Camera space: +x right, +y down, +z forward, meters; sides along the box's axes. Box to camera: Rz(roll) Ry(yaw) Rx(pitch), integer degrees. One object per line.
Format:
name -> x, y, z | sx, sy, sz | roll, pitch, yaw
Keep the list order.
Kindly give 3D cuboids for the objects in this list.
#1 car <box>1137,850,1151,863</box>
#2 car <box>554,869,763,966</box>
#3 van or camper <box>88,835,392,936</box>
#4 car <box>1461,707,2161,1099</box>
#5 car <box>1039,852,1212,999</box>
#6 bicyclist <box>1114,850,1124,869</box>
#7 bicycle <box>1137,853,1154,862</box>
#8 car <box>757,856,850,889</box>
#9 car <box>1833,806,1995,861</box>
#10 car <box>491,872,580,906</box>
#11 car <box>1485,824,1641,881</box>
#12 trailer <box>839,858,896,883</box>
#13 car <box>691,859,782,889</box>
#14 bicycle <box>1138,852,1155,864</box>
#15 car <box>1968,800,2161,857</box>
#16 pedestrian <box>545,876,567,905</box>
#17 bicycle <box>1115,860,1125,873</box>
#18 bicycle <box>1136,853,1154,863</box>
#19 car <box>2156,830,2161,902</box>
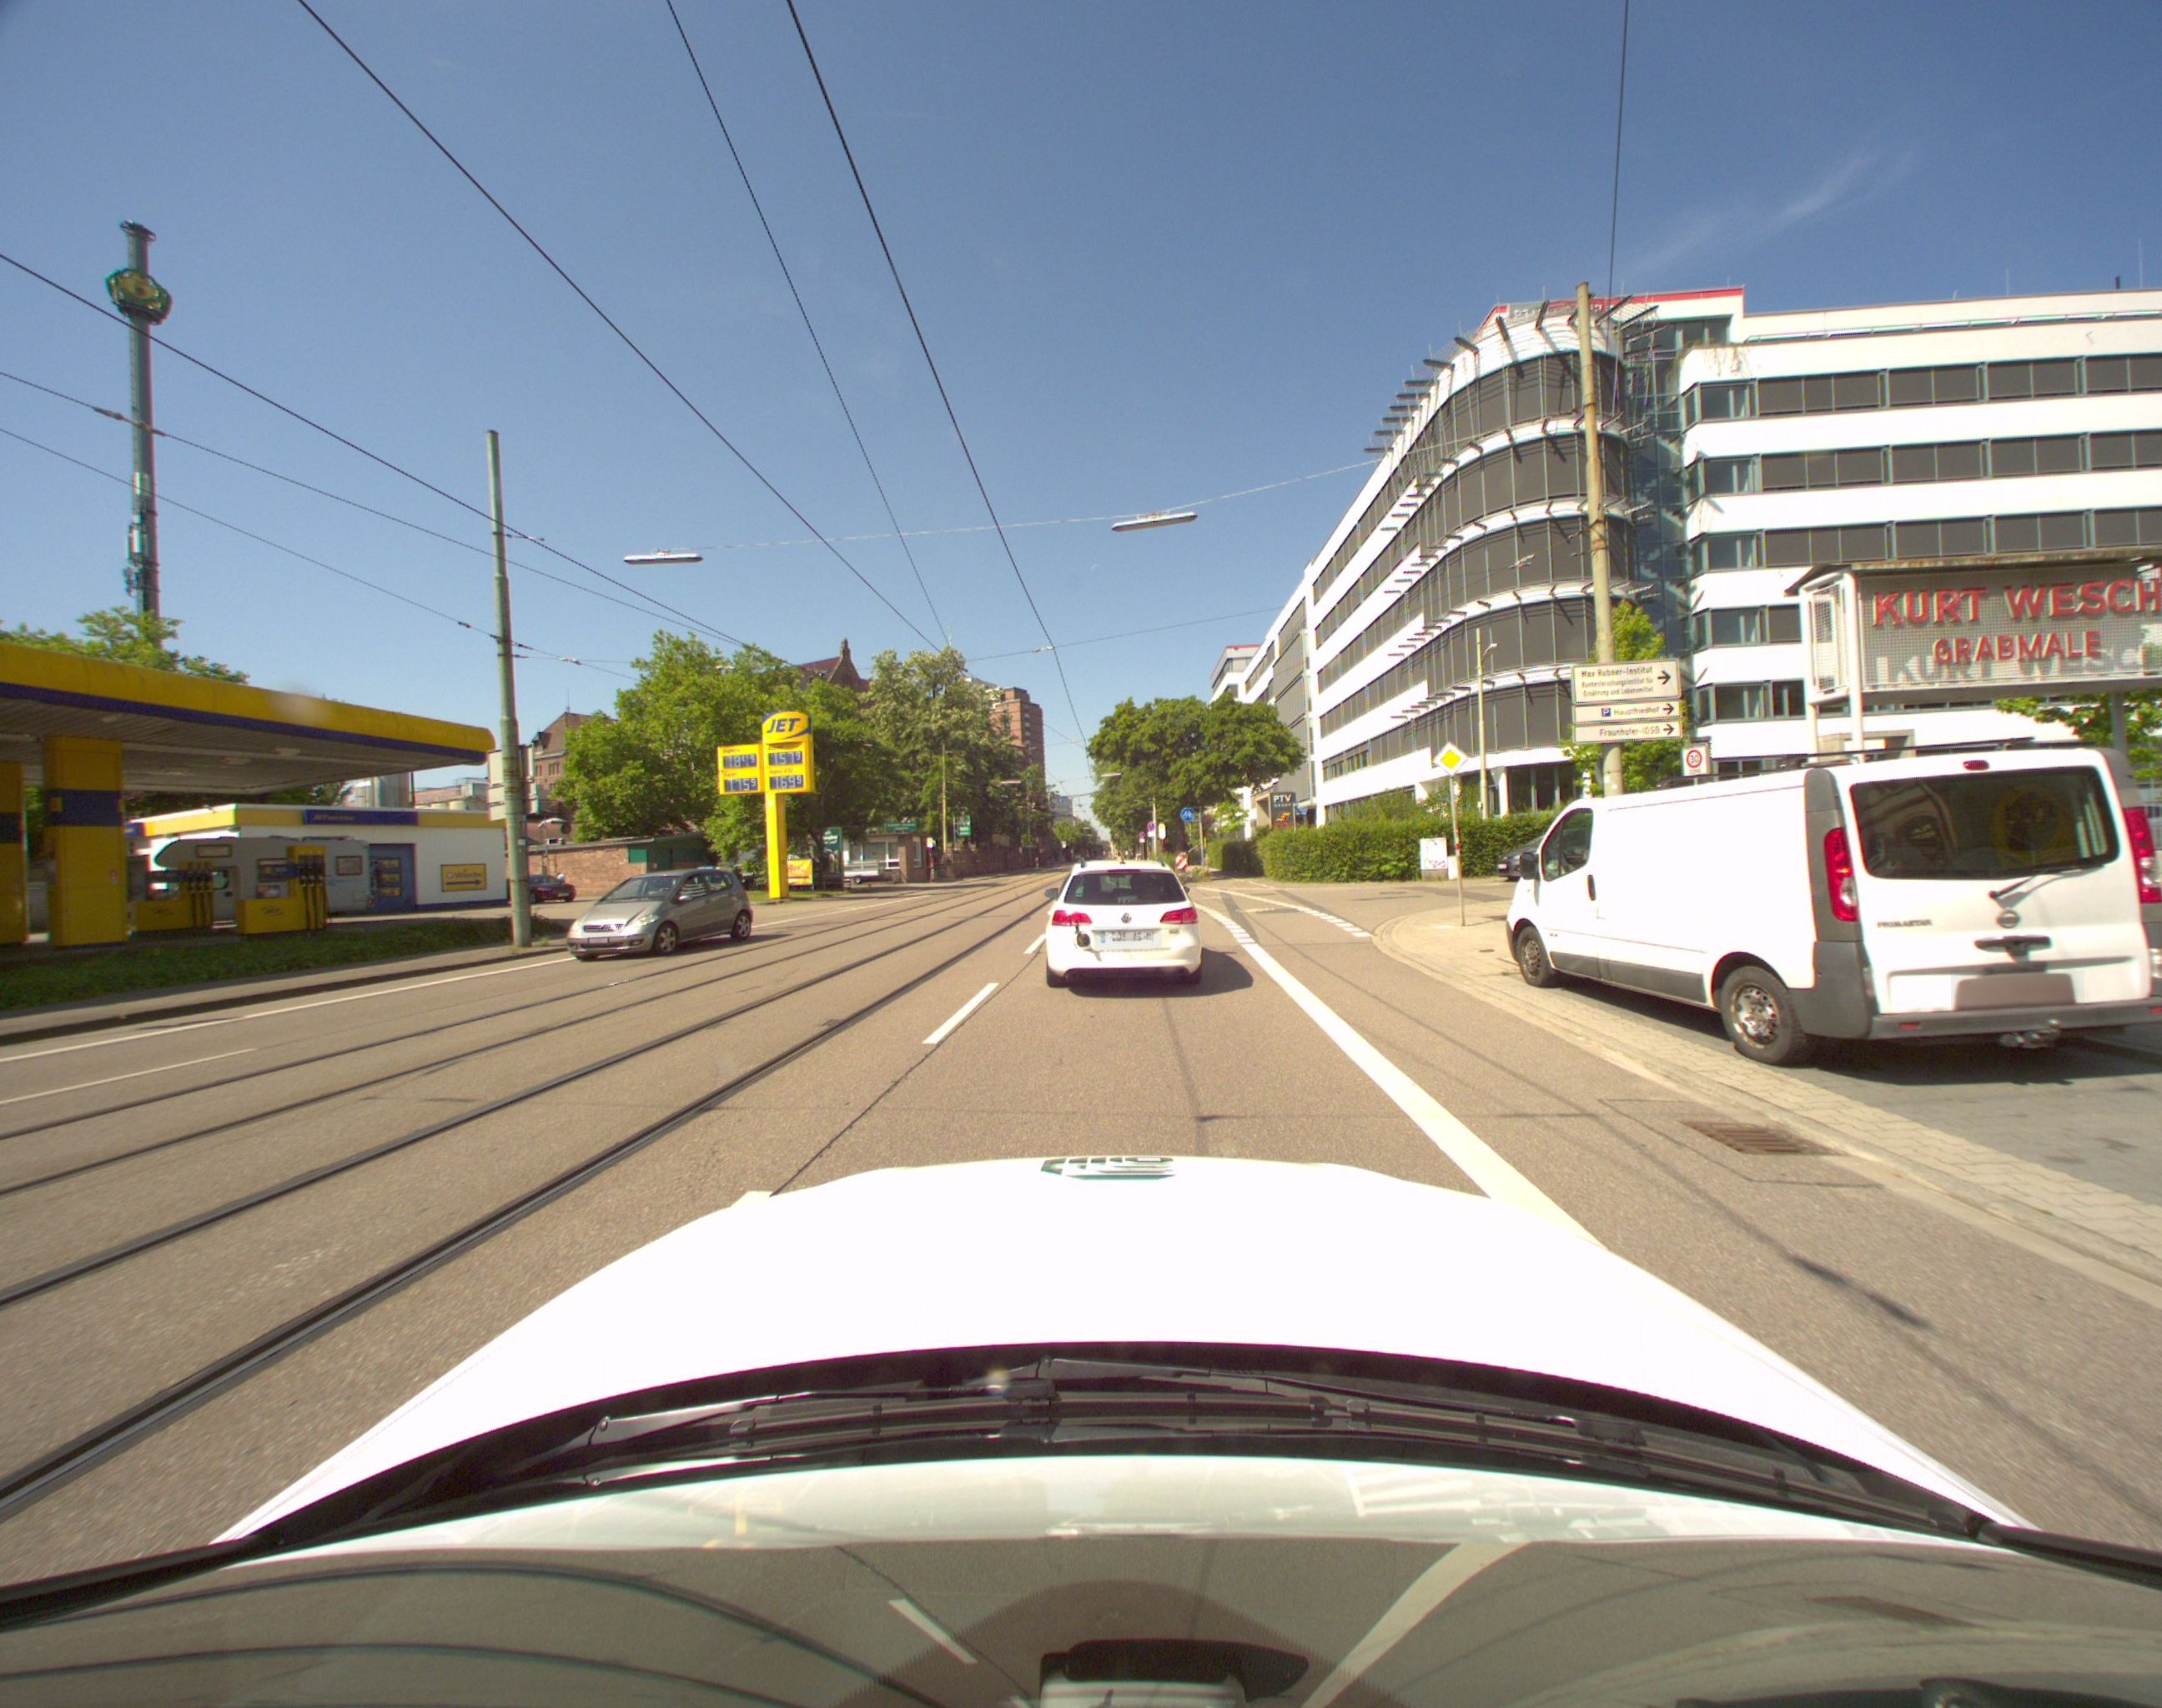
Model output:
car -> 7.483, 0.320, 97.456 | 1.584, 1.451, 3.949 | -3, 0, 3
car -> -8.235, 1.161, 16.327 | 1.736, 1.571, 3.899 | -4, -1, 7
van or camper -> -27.373, 0.925, 27.019 | 6.750, 2.967, 2.585 | 0, 0, -43
car -> 5.448, 0.264, 7.105 | 1.968, 2.054, 5.196 | -4, 0, 3
car -> 0.535, 0.725, 10.532 | 1.747, 1.442, 4.415 | -1, 1, 2
bicyclist -> 3.355, 0.488, 71.347 | 0.782, 1.629, 0.739 | -2, 0, 3
bicycle -> 7.275, 0.415, 92.084 | 1.905, 1.083, 0.550 | 0, 0, 0
car -> -15.772, 1.037, 46.396 | 4.605, 1.625, 1.926 | -2, 0, -43
car -> 24.041, -0.566, 23.591 | 2.893, 1.411, 1.659 | -2, 0, 3
car -> -27.211, 1.748, 40.638 | 4.118, 1.527, 1.949 | -2, -1, 28
car -> 13.996, -0.048, 23.784 | 3.578, 1.473, 1.594 | -2, 0, 3
trailer -> -14.233, 1.111, 54.457 | 3.201, 1.525, 1.780 | -2, 0, 4
car -> -20.692, 1.189, 48.984 | 4.604, 1.583, 1.926 | -2, 0, -42
bicycle -> 6.977, 0.428, 86.493 | 1.768, 1.083, 0.596 | -3, 0, 0
car -> 28.632, -0.724, 23.554 | 3.970, 1.426, 1.659 | -2, 0, 3
pedestrian -> -27.790, 1.915, 43.147 | 0.672, 1.468, 0.641 | -2, 0, 11
bicycle -> 3.407, 1.053, 71.134 | 0.807, 1.078, 2.014 | -2, 0, 3
bicycle -> 7.285, 0.421, 92.698 | 1.905, 1.083, 0.550 | 0, 0, 0
car -> 5.009, 0.565, 1.011 | 1.714, 1.443, 4.316 | -4, 0, 3
